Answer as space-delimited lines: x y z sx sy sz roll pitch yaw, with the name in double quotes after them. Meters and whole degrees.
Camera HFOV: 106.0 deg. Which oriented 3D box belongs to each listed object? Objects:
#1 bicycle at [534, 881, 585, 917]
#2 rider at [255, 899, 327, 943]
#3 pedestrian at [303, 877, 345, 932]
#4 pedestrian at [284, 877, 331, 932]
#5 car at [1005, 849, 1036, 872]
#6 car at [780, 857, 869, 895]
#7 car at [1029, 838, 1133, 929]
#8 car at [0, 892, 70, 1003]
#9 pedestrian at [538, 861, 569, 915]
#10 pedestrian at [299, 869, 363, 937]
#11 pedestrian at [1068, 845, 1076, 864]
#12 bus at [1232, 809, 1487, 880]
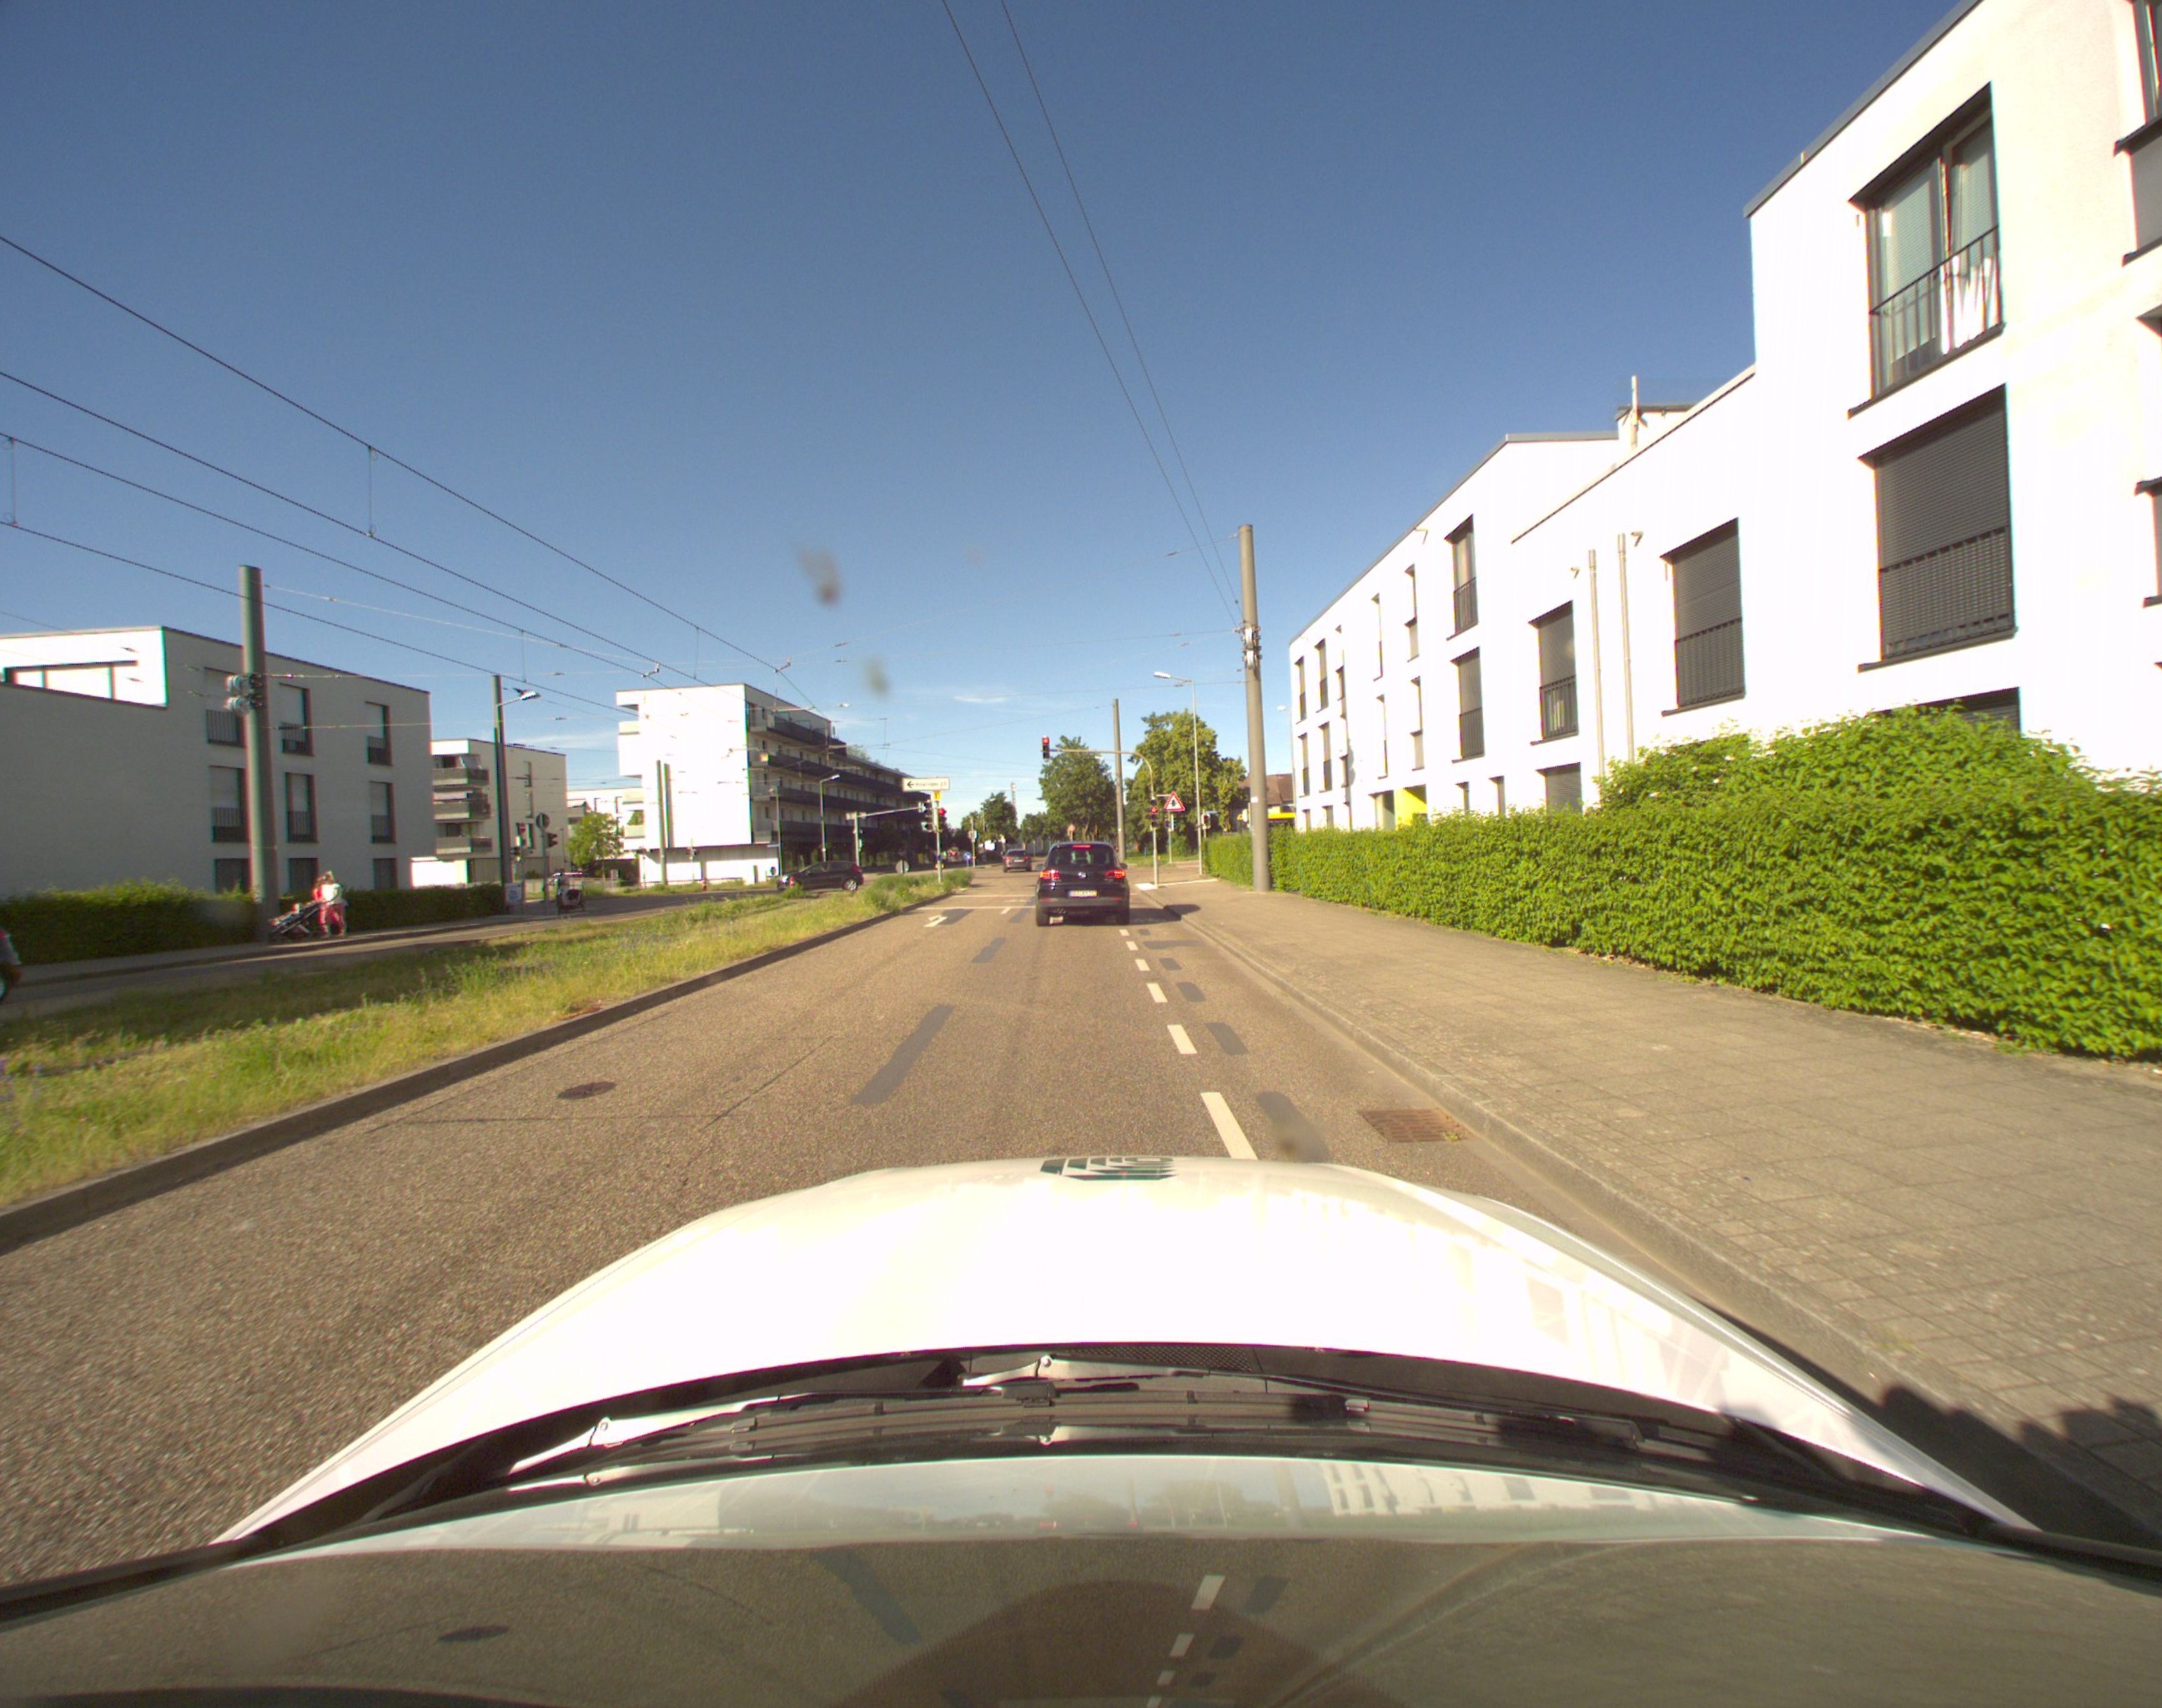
-20.349 1.746 31.856 0.794 1.221 2.691 -1 1 -13 "bicycle"
-20.331 1.710 20.973 0.774 1.003 1.046 -1 0 5 "rider"
-21.075 1.404 22.687 0.555 1.464 0.612 -1 0 2 "pedestrian"
-21.636 1.402 22.784 0.555 1.464 0.743 -1 0 2 "pedestrian"
-3.885 0.389 52.613 1.746 1.387 3.998 -1 1 -1 "car"
-12.063 1.011 38.326 3.746 1.430 1.695 -5 1 -25 "car"
-0.031 0.519 17.126 1.900 1.642 3.998 -1 1 -1 "car"
-15.231 1.338 9.477 1.782 1.418 4.001 -4 1 1 "car"
-20.222 1.285 31.227 0.762 2.013 0.666 -1 0 -14 "pedestrian"
-20.220 1.302 21.973 0.812 1.748 0.911 -1 0 5 "pedestrian"
-0.790 0.081 71.218 0.600 1.640 0.529 -1 0 4 "pedestrian"
16.195 -0.616 47.258 14.649 3.670 2.836 -2 0 -13 "bus"
